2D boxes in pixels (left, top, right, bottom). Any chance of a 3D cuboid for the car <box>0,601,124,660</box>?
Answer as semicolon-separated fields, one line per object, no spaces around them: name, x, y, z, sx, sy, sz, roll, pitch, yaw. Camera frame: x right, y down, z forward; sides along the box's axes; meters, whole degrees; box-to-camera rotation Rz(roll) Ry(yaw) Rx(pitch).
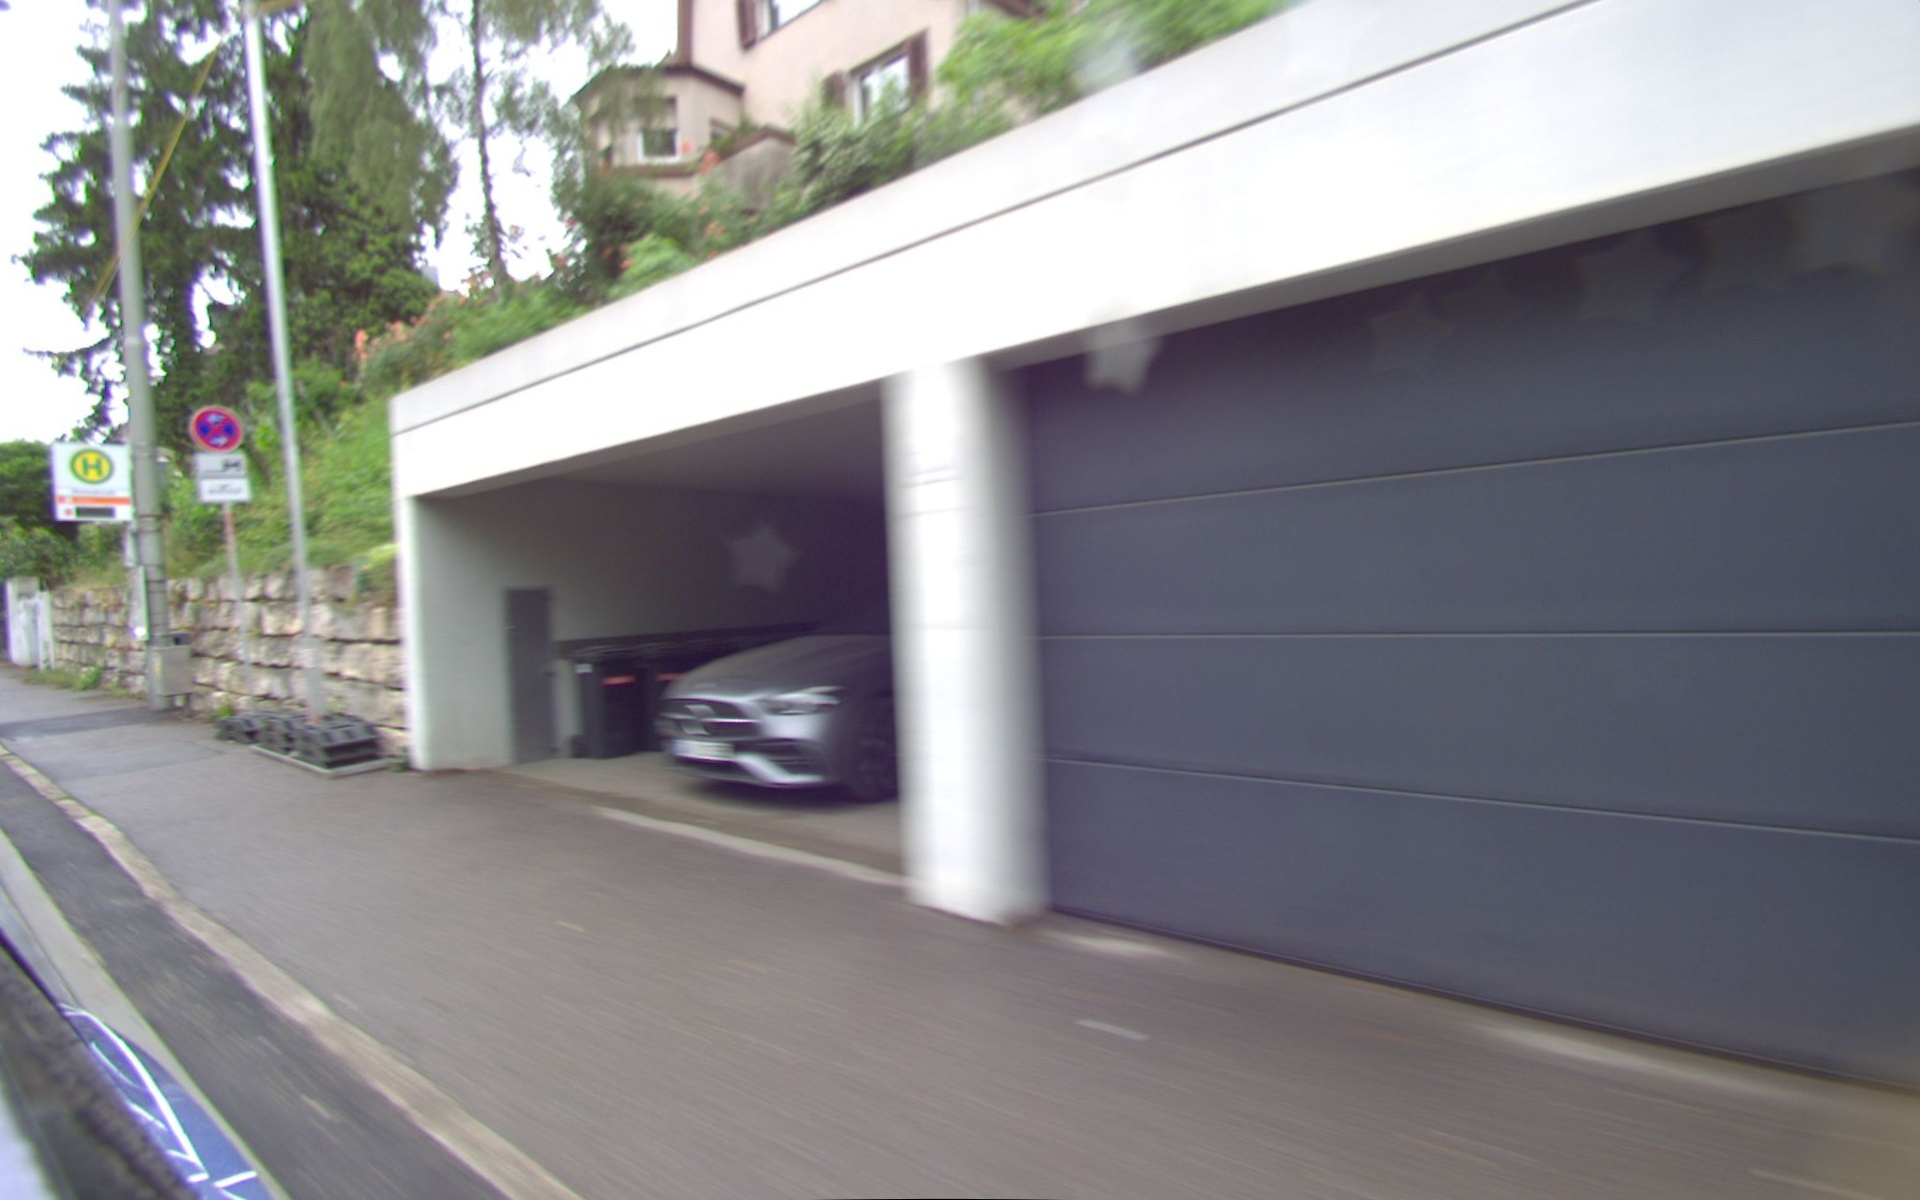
car;-27.951;0.935;30.472;3.942;1.536;1.788;-3;3;-1

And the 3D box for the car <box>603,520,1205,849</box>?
car;-0.125;0.321;7.684;2.109;1.718;4.357;0;4;40

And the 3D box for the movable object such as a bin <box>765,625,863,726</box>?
movable object such as a bin;-1.466;0.740;10.182;0.656;0.910;0.676;0;3;41

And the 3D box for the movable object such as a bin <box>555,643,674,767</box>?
movable object such as a bin;-2.918;0.858;8.547;0.656;0.910;0.676;0;3;41

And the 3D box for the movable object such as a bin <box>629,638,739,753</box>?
movable object such as a bin;-2.484;0.837;9.120;0.656;0.910;0.676;0;3;41

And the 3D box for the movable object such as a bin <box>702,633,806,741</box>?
movable object such as a bin;-1.965;0.809;9.655;0.656;0.910;0.676;0;3;41

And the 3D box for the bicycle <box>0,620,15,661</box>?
bicycle;-27.696;1.190;28.415;1.597;1.139;0.444;-4;3;-36
